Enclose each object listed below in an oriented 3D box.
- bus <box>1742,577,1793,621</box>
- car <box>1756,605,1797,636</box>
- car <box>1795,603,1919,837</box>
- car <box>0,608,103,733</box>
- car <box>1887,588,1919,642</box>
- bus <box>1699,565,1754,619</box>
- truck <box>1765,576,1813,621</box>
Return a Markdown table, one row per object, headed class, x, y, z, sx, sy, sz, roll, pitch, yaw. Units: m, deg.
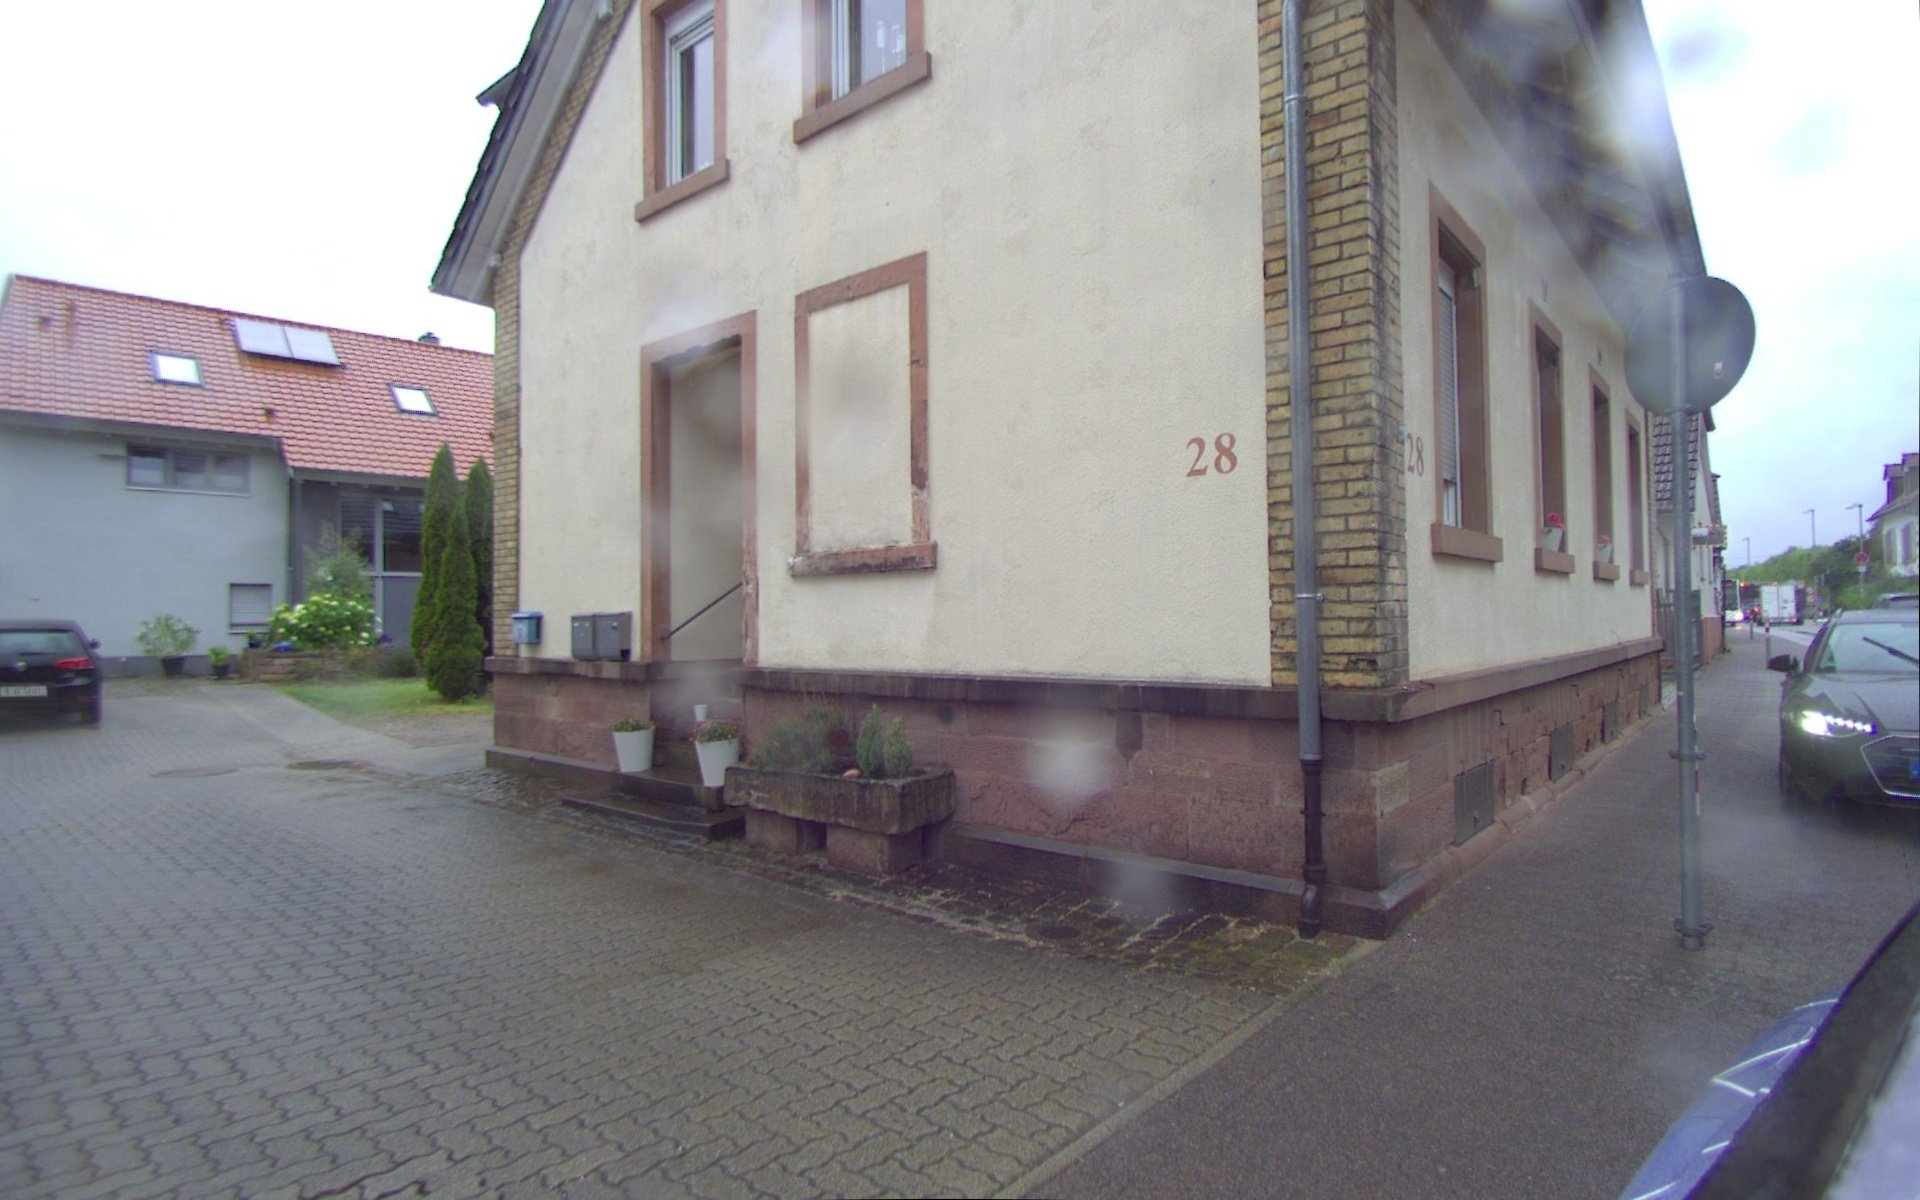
| class | x | y | z | sx | sy | sz | roll | pitch | yaw |
| --- | --- | --- | --- | --- | --- | --- | --- | --- | --- |
| bus | 64.345 | -0.137 | 80.857 | 2.654 | 3.273 | 12.032 | 0 | 0 | 36 |
| car | 58.151 | 1.421 | 72.126 | 1.987 | 2.039 | 3.949 | 0 | 0 | 36 |
| car | 7.367 | 0.735 | 7.535 | 1.732 | 1.388 | 4.044 | 0 | 0 | 39 |
| car | -13.946 | 0.956 | 15.106 | 1.655 | 1.491 | 3.993 | 0 | 2 | -42 |
| car | 32.795 | 0.453 | 34.278 | 1.777 | 1.686 | 4.363 | -3 | -1 | 40 |
| bus | 50.638 | -0.536 | 67.038 | 2.654 | 3.273 | 12.032 | 0 | 0 | 36 |
| truck | 49.324 | -0.119 | 60.292 | 1.989 | 2.536 | 5.575 | 0 | 0 | 37 |
